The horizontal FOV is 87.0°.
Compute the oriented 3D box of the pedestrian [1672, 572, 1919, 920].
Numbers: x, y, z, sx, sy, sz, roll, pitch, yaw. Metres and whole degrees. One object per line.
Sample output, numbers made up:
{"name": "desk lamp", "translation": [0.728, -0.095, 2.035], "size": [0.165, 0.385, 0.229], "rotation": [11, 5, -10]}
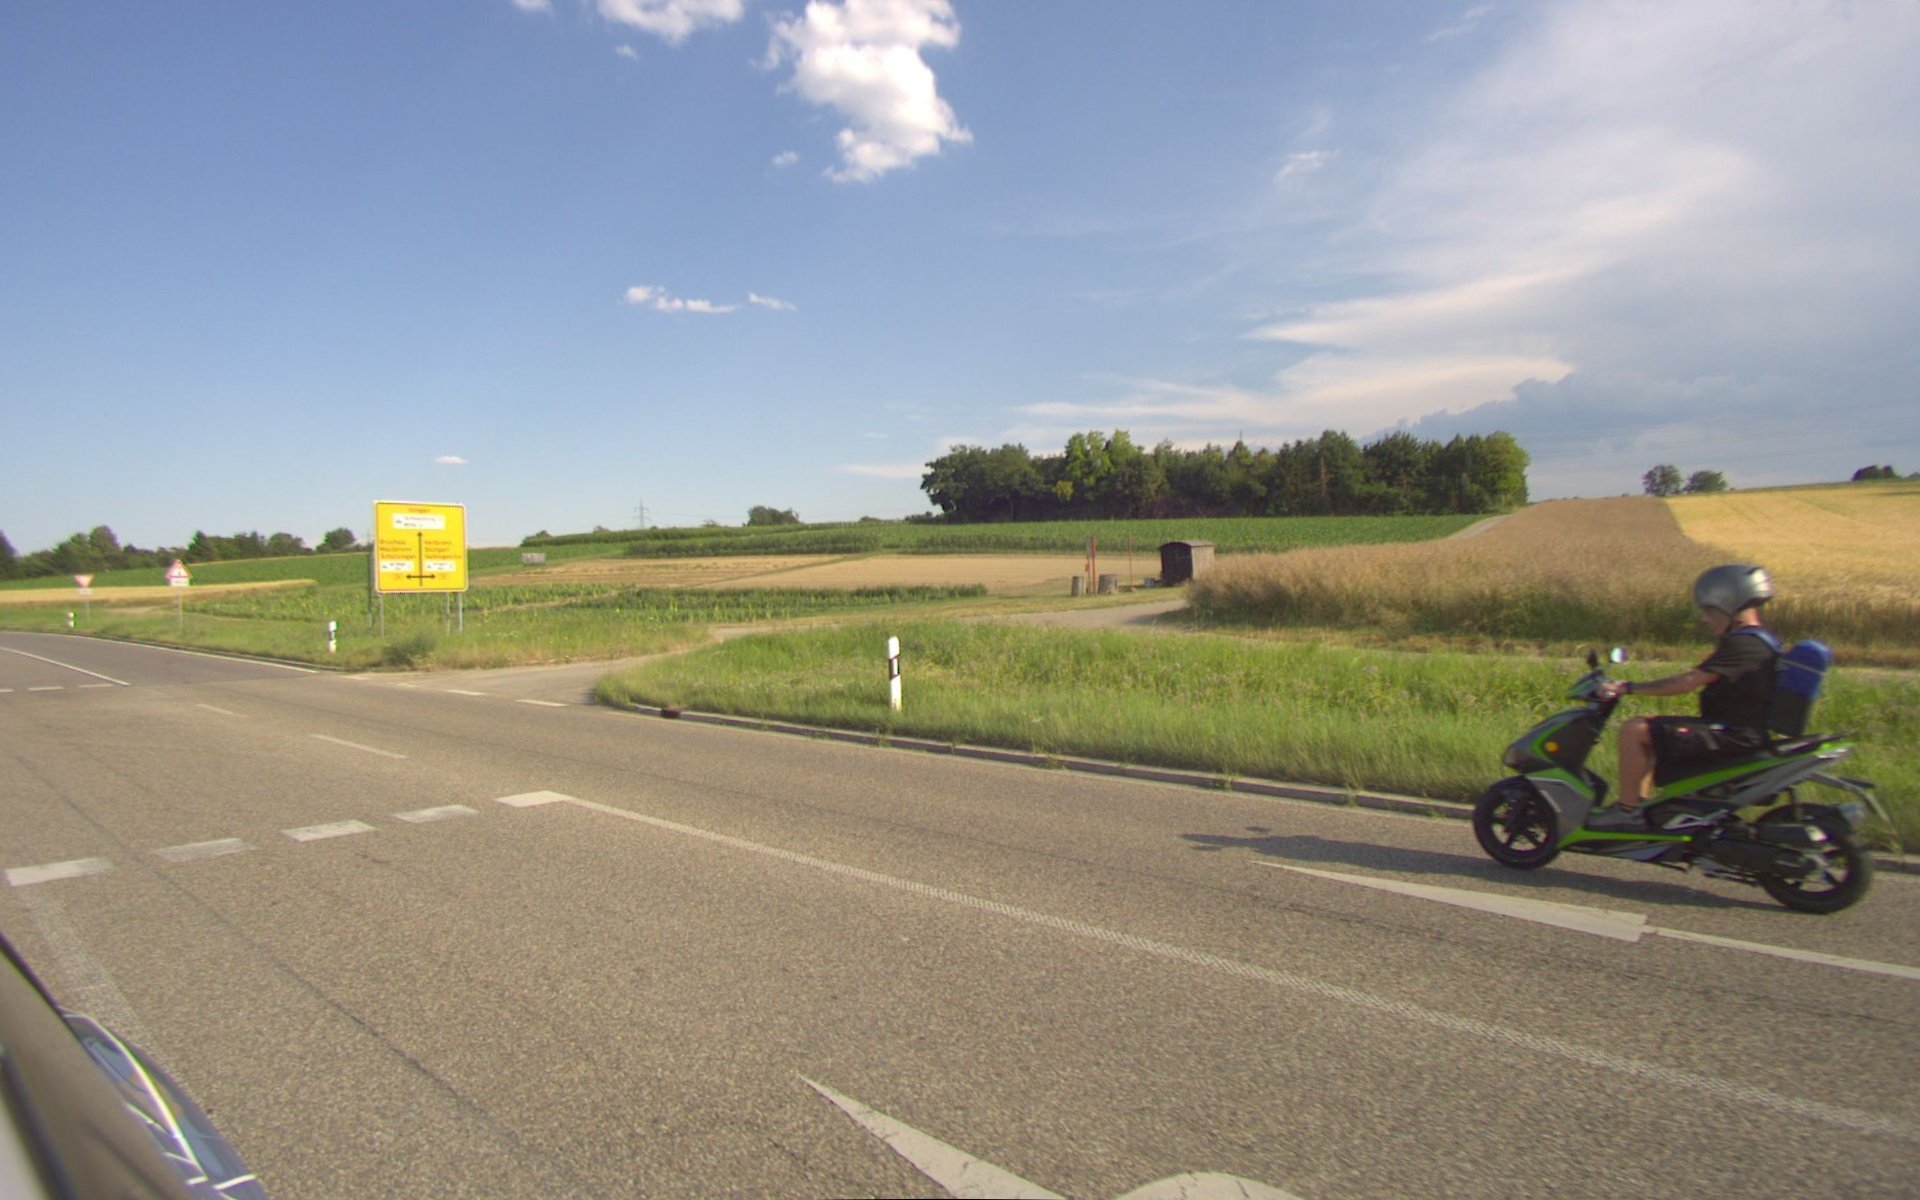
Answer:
{"name": "pedestrian", "translation": [4.000, 0.641, 4.898], "size": [0.863, 1.516, 0.560], "rotation": [-1, 0, 38]}

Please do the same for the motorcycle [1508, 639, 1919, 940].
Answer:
{"name": "motorcycle", "translation": [3.929, 0.848, 4.955], "size": [2.118, 1.270, 0.580], "rotation": [-1, 0, 38]}
